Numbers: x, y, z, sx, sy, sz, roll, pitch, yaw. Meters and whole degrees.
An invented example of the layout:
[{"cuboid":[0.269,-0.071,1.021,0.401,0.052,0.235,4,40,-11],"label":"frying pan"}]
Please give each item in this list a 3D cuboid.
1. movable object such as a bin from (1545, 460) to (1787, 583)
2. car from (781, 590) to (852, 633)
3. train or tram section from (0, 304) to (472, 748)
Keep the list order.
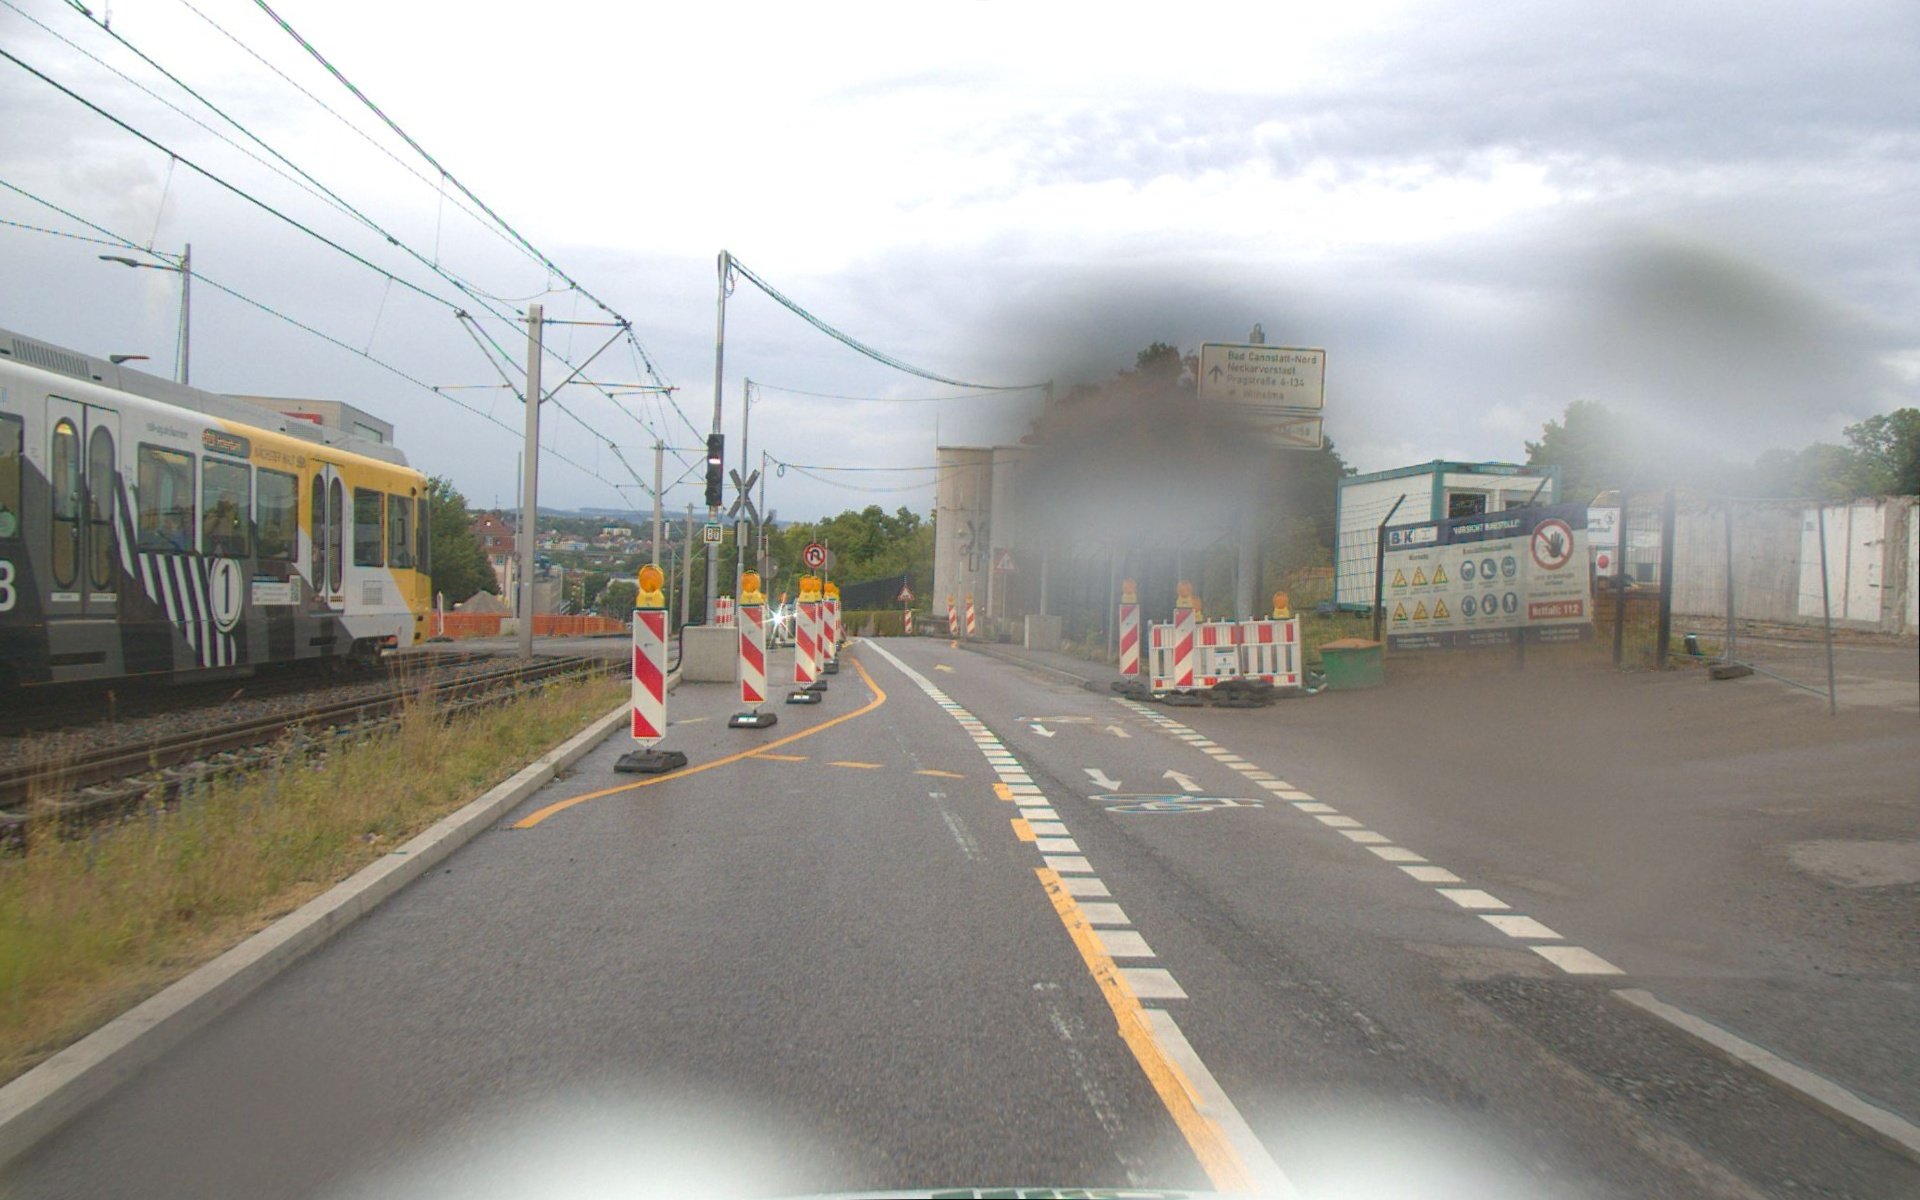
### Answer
[{"cuboid":[36.408,-4.037,85.686,10.993,6.100,3.493,1,0,6],"label":"movable object such as a bin"},{"cuboid":[-5.940,0.477,68.020,1.962,1.707,4.467,1,0,-17],"label":"car"},{"cuboid":[-10.232,-0.750,20.986,2.896,3.953,19.283,2,0,-2],"label":"train or tram section"}]
